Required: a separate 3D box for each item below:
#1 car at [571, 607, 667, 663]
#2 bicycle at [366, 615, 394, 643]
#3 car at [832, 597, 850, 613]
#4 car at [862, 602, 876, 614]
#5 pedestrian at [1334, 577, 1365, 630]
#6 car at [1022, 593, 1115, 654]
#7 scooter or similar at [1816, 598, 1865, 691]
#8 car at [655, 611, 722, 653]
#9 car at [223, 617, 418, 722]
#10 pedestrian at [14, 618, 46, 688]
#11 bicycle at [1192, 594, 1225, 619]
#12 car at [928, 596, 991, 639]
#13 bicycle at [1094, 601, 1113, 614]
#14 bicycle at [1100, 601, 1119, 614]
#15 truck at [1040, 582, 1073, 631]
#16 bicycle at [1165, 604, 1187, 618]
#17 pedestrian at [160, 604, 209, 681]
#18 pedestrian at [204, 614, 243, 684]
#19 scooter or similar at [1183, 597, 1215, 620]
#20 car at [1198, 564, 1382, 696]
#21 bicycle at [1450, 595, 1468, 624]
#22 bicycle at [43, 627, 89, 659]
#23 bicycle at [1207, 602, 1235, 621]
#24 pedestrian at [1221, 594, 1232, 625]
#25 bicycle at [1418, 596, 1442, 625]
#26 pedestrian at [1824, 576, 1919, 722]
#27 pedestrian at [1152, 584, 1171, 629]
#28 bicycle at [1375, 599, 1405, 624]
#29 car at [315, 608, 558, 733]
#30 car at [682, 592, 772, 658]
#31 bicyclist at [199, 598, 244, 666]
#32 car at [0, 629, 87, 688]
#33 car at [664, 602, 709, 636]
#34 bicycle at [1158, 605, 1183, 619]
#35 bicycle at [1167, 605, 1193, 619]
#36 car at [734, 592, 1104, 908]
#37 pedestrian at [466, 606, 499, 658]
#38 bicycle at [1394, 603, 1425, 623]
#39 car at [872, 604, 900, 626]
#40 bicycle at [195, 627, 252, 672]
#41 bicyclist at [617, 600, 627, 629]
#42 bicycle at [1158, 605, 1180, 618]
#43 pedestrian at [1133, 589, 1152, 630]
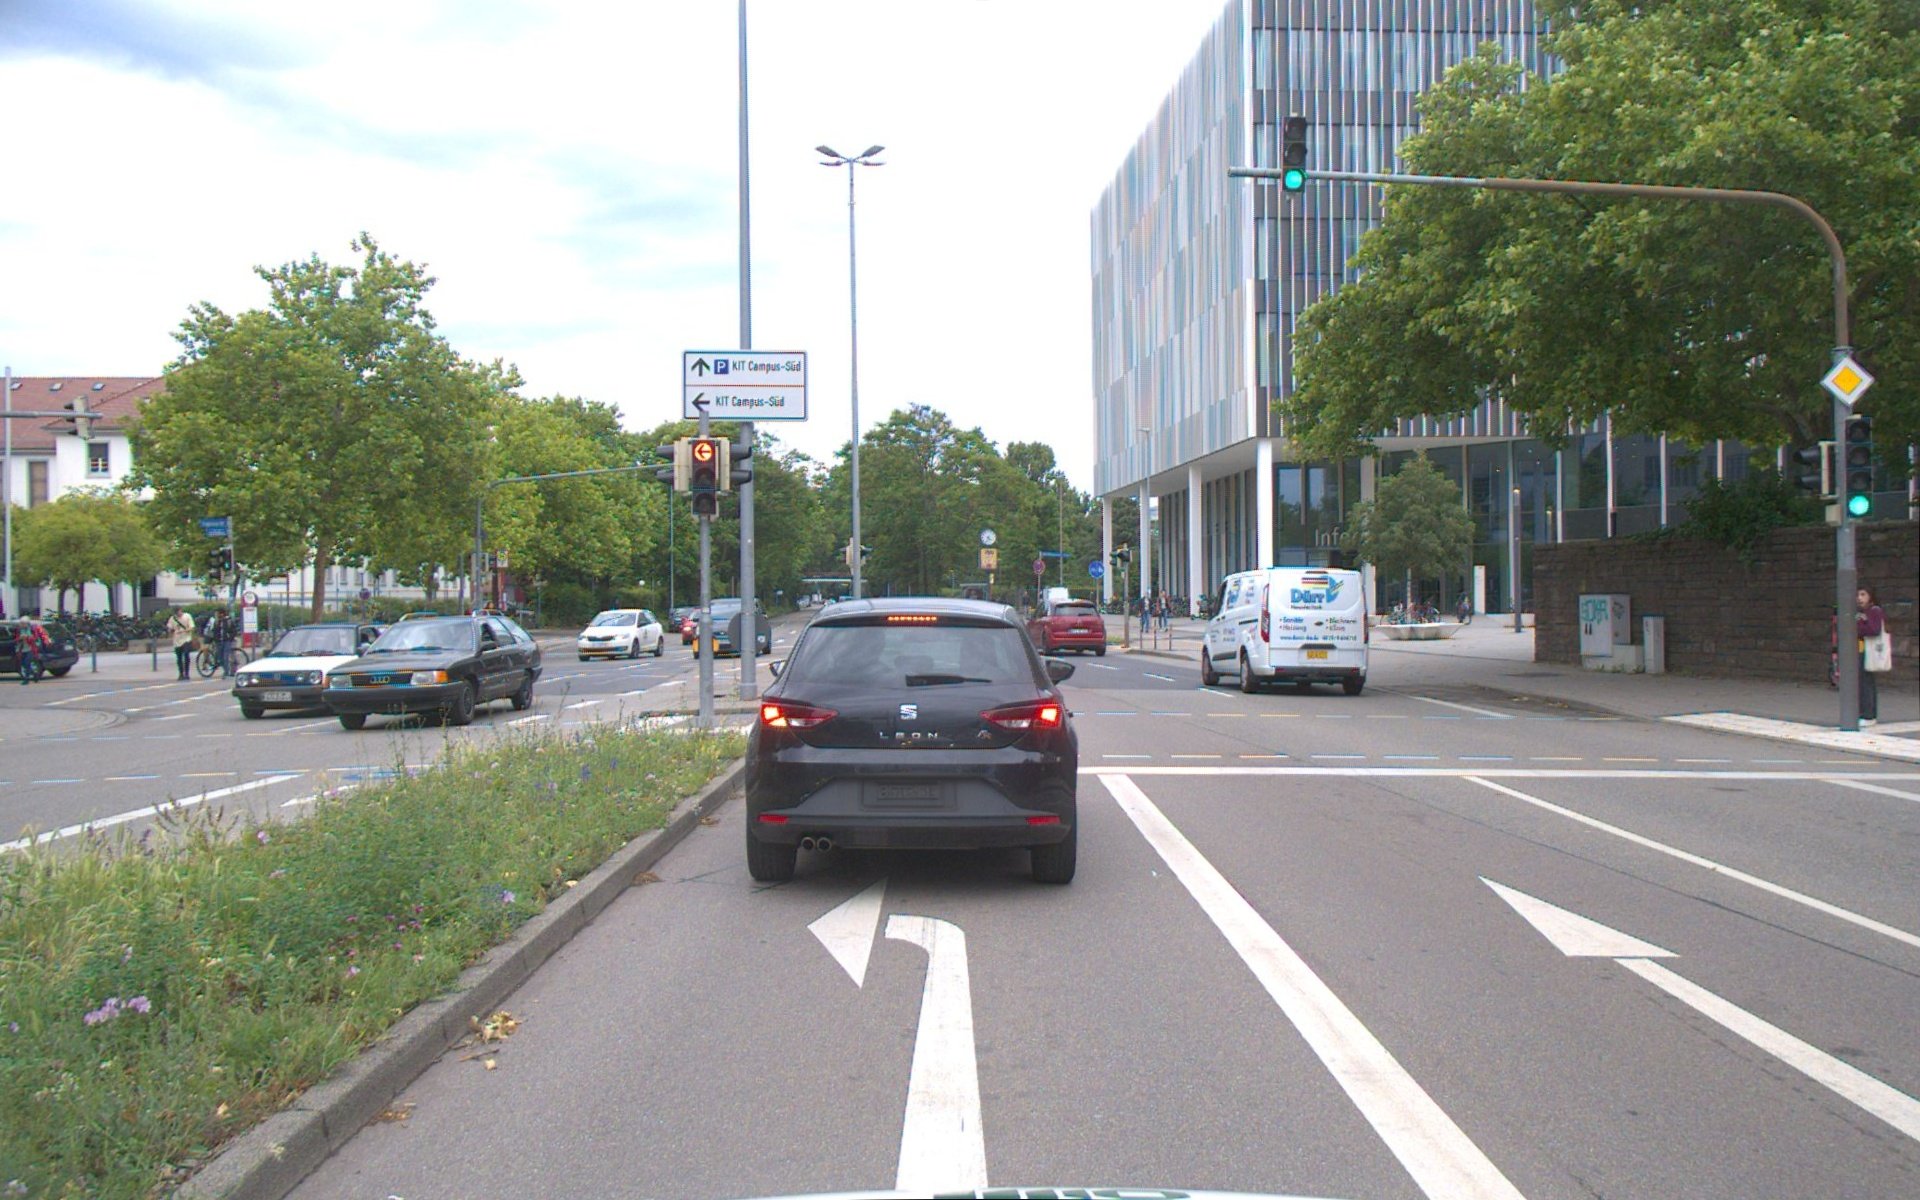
[{"bbox_3d":[-10.067,1.007,49.126,1.669,1.456,4.230,-2,1,4],"label":"car"},{"bbox_3d":[-23.091,1.148,65.878,0.596,1.079,2.041,-2,0,-7],"label":"bicycle"},{"bbox_3d":[-12.420,0.503,172.912,1.663,1.530,4.003,-2,1,-7],"label":"car"},{"bbox_3d":[-9.993,0.839,181.775,1.475,1.214,3.160,-2,1,-4],"label":"car"},{"bbox_3d":[13.504,0.127,57.363,0.830,1.795,0.767,-2,0,-1],"label":"pedestrian"},{"bbox_3d":[3.111,0.655,48.303,1.913,1.652,3.741,1,1,-9],"label":"car"},{"bbox_3d":[12.279,0.602,23.094,0.423,1.199,1.703,-3,0,24],"label":"scooter or similar"},{"bbox_3d":[-10.219,1.186,62.535,1.678,1.443,4.295,-2,0,2],"label":"car"},{"bbox_3d":[-9.969,1.035,26.079,1.575,1.405,3.808,-2,1,0],"label":"car"},{"bbox_3d":[-21.562,1.231,38.353,0.563,1.553,0.842,-1,-5,-24],"label":"pedestrian"},{"bbox_3d":[12.706,0.321,84.469,1.757,1.232,0.563,-2,0,-35],"label":"bicycle"},{"bbox_3d":[-0.075,0.732,70.297,1.880,1.693,4.103,-2,1,-11],"label":"car"},{"bbox_3d":[10.034,0.542,115.735,1.241,0.863,0.479,2,-1,-23],"label":"bicycle"},{"bbox_3d":[10.254,0.496,113.569,1.218,0.837,0.479,2,-1,-23],"label":"bicycle"},{"bbox_3d":[4.658,0.299,80.268,1.291,2.282,3.401,-2,0,-1],"label":"truck"},{"bbox_3d":[12.308,0.614,94.294,1.246,0.717,0.485,-2,0,6],"label":"bicycle"},{"bbox_3d":[-18.470,1.020,39.389,0.812,1.770,0.841,-2,-4,-6],"label":"pedestrian"},{"bbox_3d":[-17.135,1.145,38.508,0.778,1.585,0.695,0,-3,-21],"label":"pedestrian"},{"bbox_3d":[12.300,0.449,85.042,1.655,1.126,0.493,-2,0,-33],"label":"scooter or similar"},{"bbox_3d":[5.434,0.457,27.814,1.928,2.007,4.340,1,0,-4],"label":"car"},{"bbox_3d":[19.768,0.368,65.493,0.609,1.074,1.950,-2,1,19],"label":"bicycle"},{"bbox_3d":[-32.829,1.575,60.763,1.381,1.070,0.585,-2,0,-21],"label":"bicycle"},{"bbox_3d":[13.058,0.582,82.765,1.421,0.872,0.361,-2,0,-28],"label":"bicycle"},{"bbox_3d":[12.164,0.433,75.457,0.462,1.385,0.446,-2,0,9],"label":"pedestrian"},{"bbox_3d":[18.866,0.402,66.408,0.792,1.074,1.950,-2,1,19],"label":"bicycle"},{"bbox_3d":[10.420,0.550,18.904,0.646,1.588,0.636,-5,0,-1],"label":"pedestrian"},{"bbox_3d":[8.175,0.248,66.992,0.673,1.812,0.677,0,0,-1],"label":"pedestrian"},{"bbox_3d":[17.715,0.469,68.159,0.682,0.963,1.981,-2,1,30],"label":"bicycle"},{"bbox_3d":[-7.147,0.902,23.127,1.727,1.486,4.792,-3,-1,1],"label":"car"},{"bbox_3d":[-6.533,0.676,46.811,1.882,1.693,4.398,-2,0,0],"label":"car"},{"bbox_3d":[-18.358,0.797,41.108,0.943,1.664,0.664,0,-1,40],"label":"bicyclist"},{"bbox_3d":[-24.195,1.473,41.597,3.585,1.244,1.562,0,7,-7],"label":"car"},{"bbox_3d":[-15.293,1.063,92.676,1.868,1.747,4.000,-2,1,-1],"label":"car"},{"bbox_3d":[11.805,0.673,92.715,1.345,0.717,0.489,-2,0,8],"label":"bicycle"},{"bbox_3d":[12.084,0.642,90.921,1.346,0.717,0.416,-2,0,2],"label":"bicycle"},{"bbox_3d":[-0.137,0.690,9.624,1.716,1.457,3.770,1,0,2],"label":"car"},{"bbox_3d":[-15.153,1.008,52.489,0.858,1.614,0.542,-2,0,-8],"label":"pedestrian"},{"bbox_3d":[18.332,0.530,67.468,1.515,0.728,0.511,-3,1,-44],"label":"bicycle"},{"bbox_3d":[-5.262,1.055,116.747,1.861,1.377,3.879,-2,1,-4],"label":"car"},{"bbox_3d":[-18.275,1.217,41.035,1.589,1.081,0.664,0,-1,40],"label":"bicycle"},{"bbox_3d":[-19.626,0.833,96.167,0.481,1.653,0.588,1,1,-4],"label":"bicyclist"},{"bbox_3d":[11.842,0.653,93.608,1.213,0.717,0.489,-2,0,8],"label":"bicycle"},{"bbox_3d":[7.371,0.379,66.892,0.673,1.668,0.632,1,0,-1],"label":"pedestrian"}]
